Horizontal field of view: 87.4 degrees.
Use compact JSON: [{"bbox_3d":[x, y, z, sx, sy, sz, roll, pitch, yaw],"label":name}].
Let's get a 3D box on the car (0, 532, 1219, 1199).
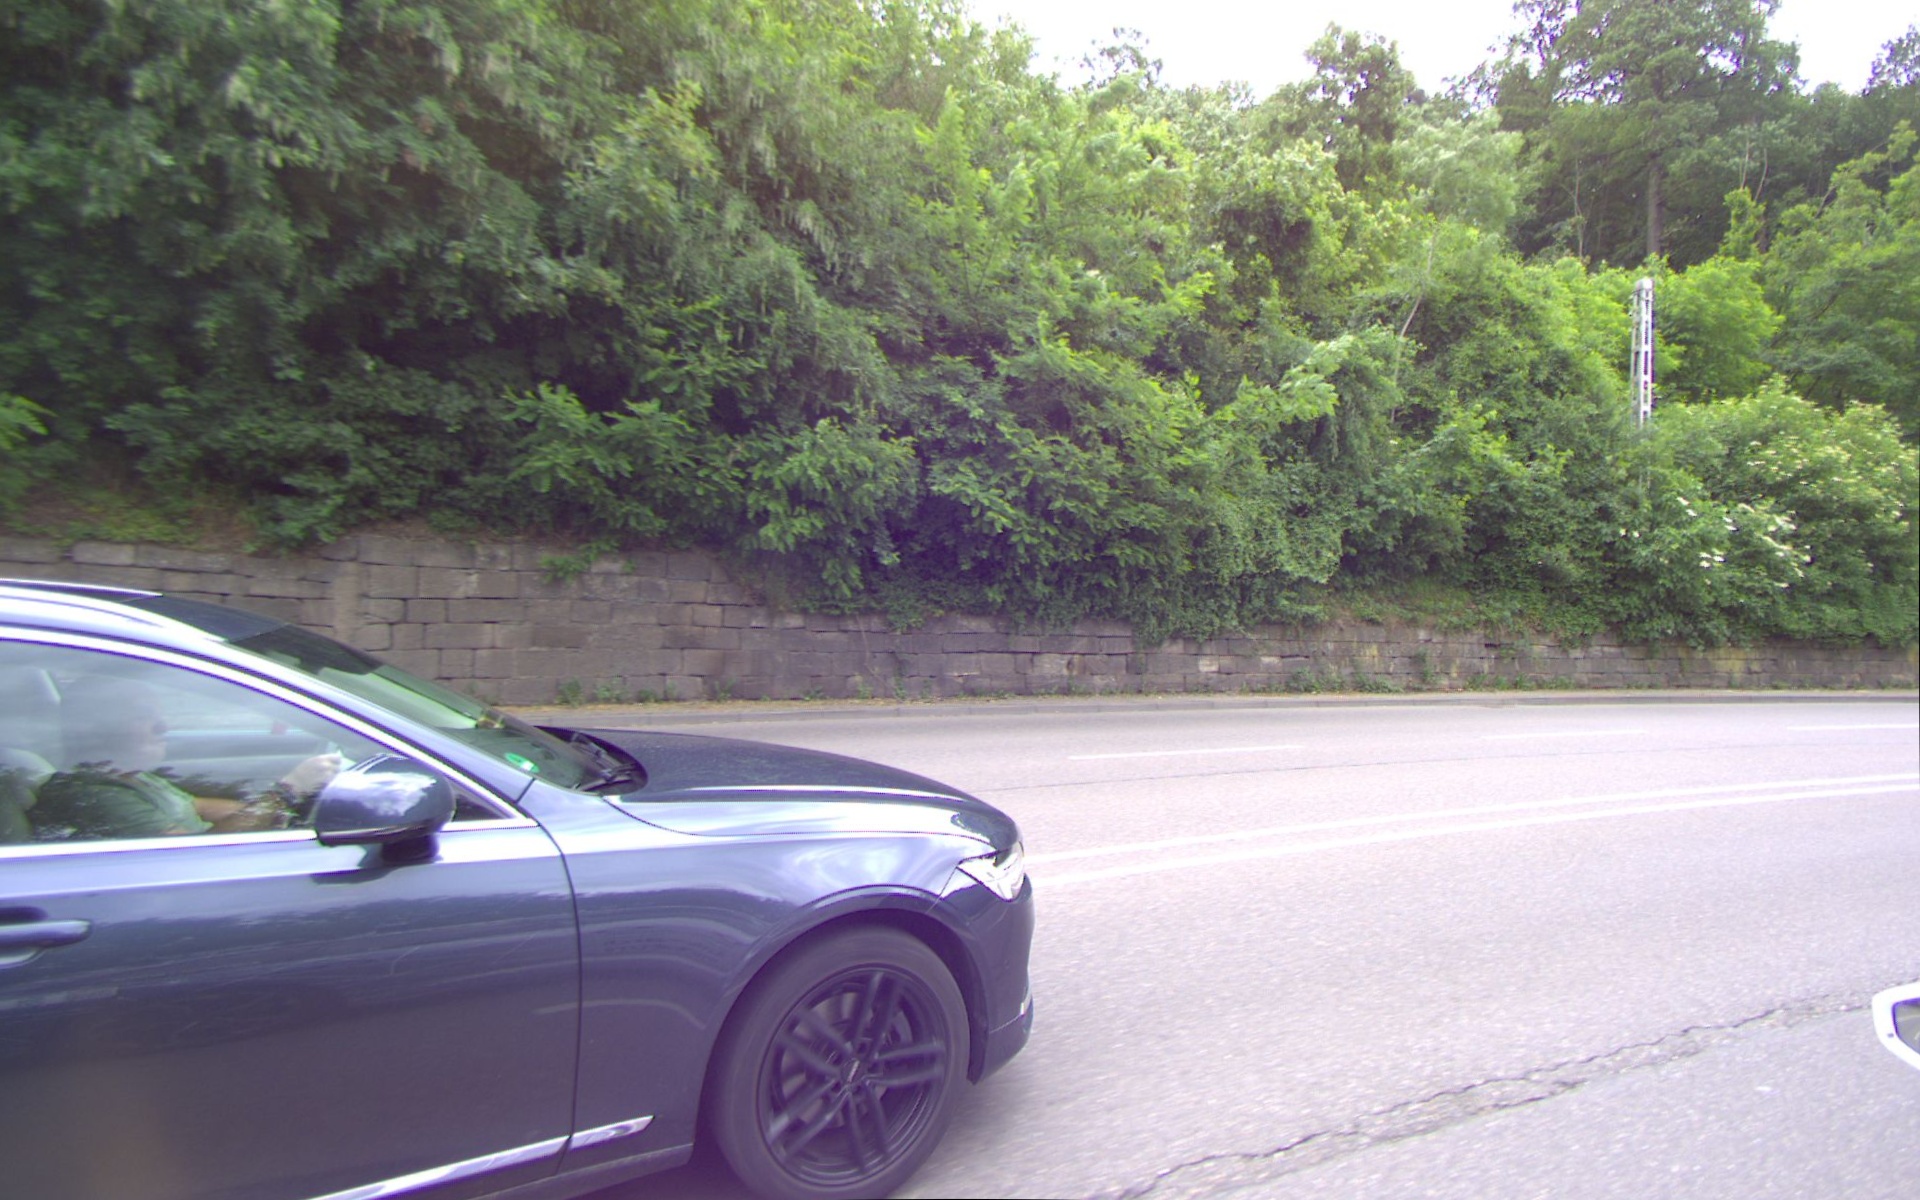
[{"bbox_3d":[-1.876,0.668,2.309,4.976,1.597,1.922,4,0,-34],"label":"car"}]
